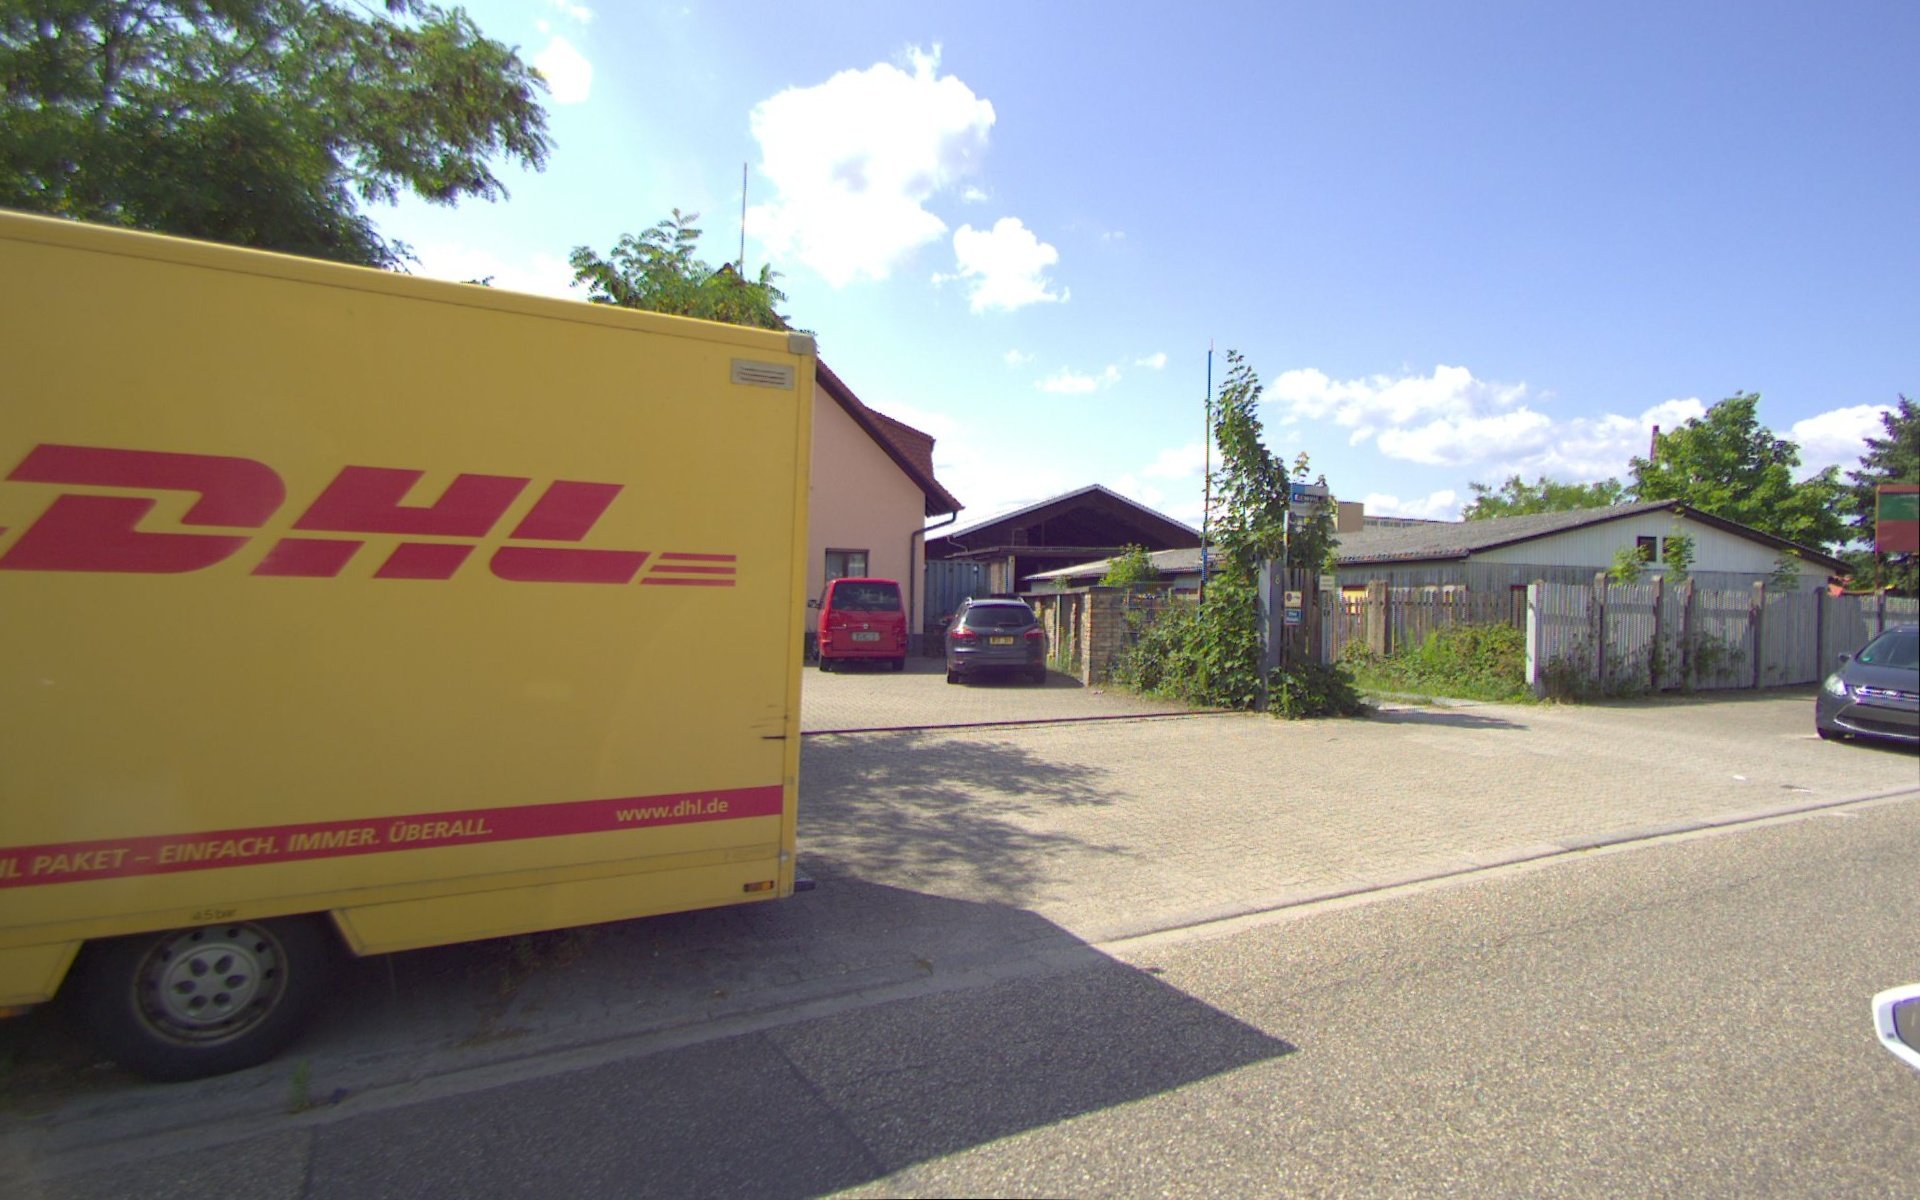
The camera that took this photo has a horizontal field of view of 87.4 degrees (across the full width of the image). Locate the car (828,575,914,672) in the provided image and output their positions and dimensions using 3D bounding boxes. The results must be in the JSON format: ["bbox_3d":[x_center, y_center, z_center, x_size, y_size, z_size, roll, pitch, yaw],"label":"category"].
[{"bbox_3d":[-2.034,0.481,22.103,1.706,1.924,3.995,1,0,-8],"label":"car"}]

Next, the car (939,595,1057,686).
[{"bbox_3d":[0.612,0.687,18.989,1.859,1.535,3.998,0,0,-3],"label":"car"}]

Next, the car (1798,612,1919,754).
[{"bbox_3d":[13.213,1.052,13.422,4.364,1.626,1.715,1,3,-32],"label":"car"}]

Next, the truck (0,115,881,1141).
[{"bbox_3d":[-3.971,0.036,3.426,7.020,2.901,2.305,1,2,-30],"label":"truck"}]
